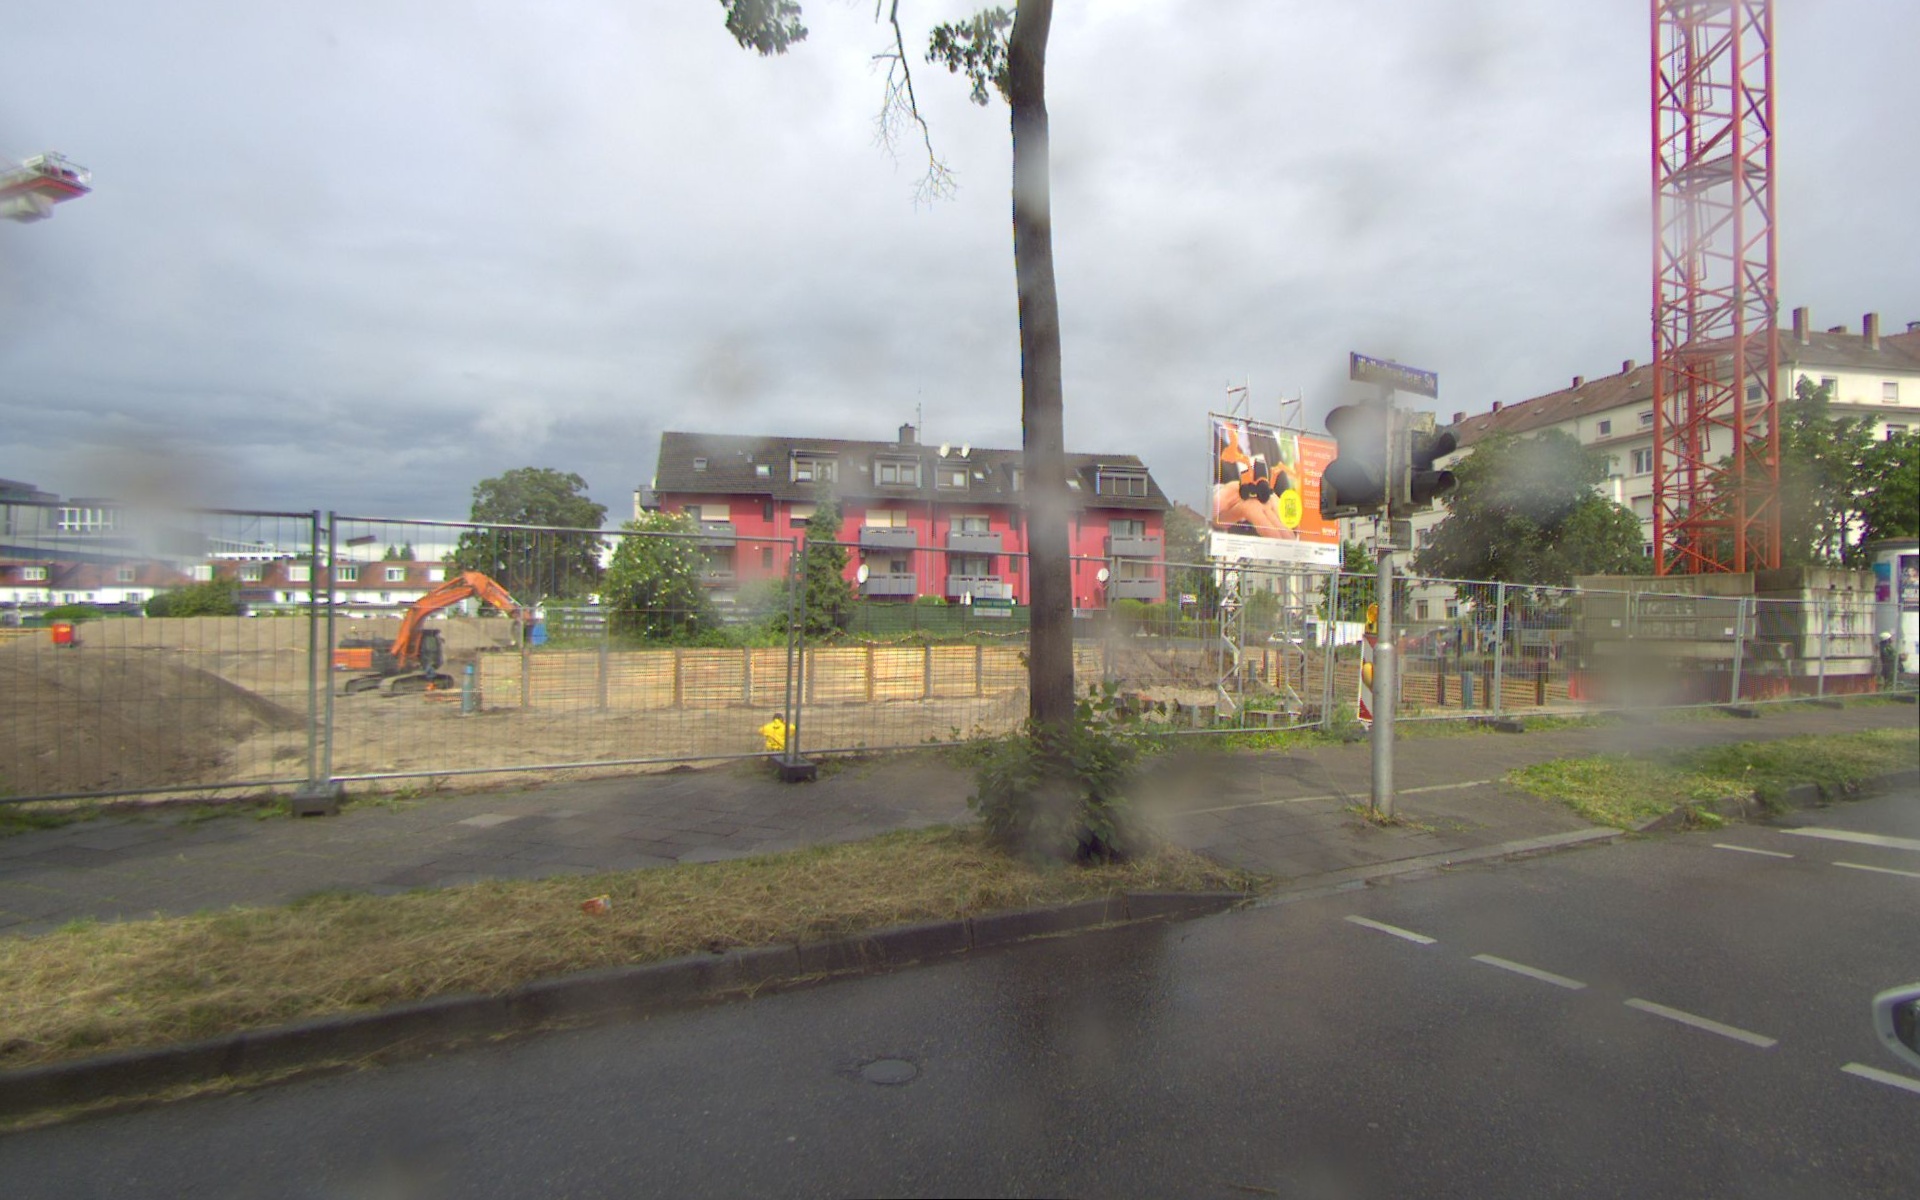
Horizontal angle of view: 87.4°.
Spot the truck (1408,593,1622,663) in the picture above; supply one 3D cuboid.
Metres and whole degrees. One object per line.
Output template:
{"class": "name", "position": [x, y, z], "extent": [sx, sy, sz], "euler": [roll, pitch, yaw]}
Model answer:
{"class": "truck", "position": [27.817, 1.485, 51.177], "extent": [3.729, 3.226, 9.816], "euler": [0, -2, -15]}

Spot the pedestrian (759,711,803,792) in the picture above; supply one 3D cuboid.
{"class": "pedestrian", "position": [-3.942, 3.320, 22.109], "extent": [0.837, 1.706, 0.585], "euler": [1, -4, -25]}

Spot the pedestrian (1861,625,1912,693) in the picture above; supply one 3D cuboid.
{"class": "pedestrian", "position": [23.303, 1.467, 25.269], "extent": [0.710, 1.651, 0.684], "euler": [2, 0, 23]}
